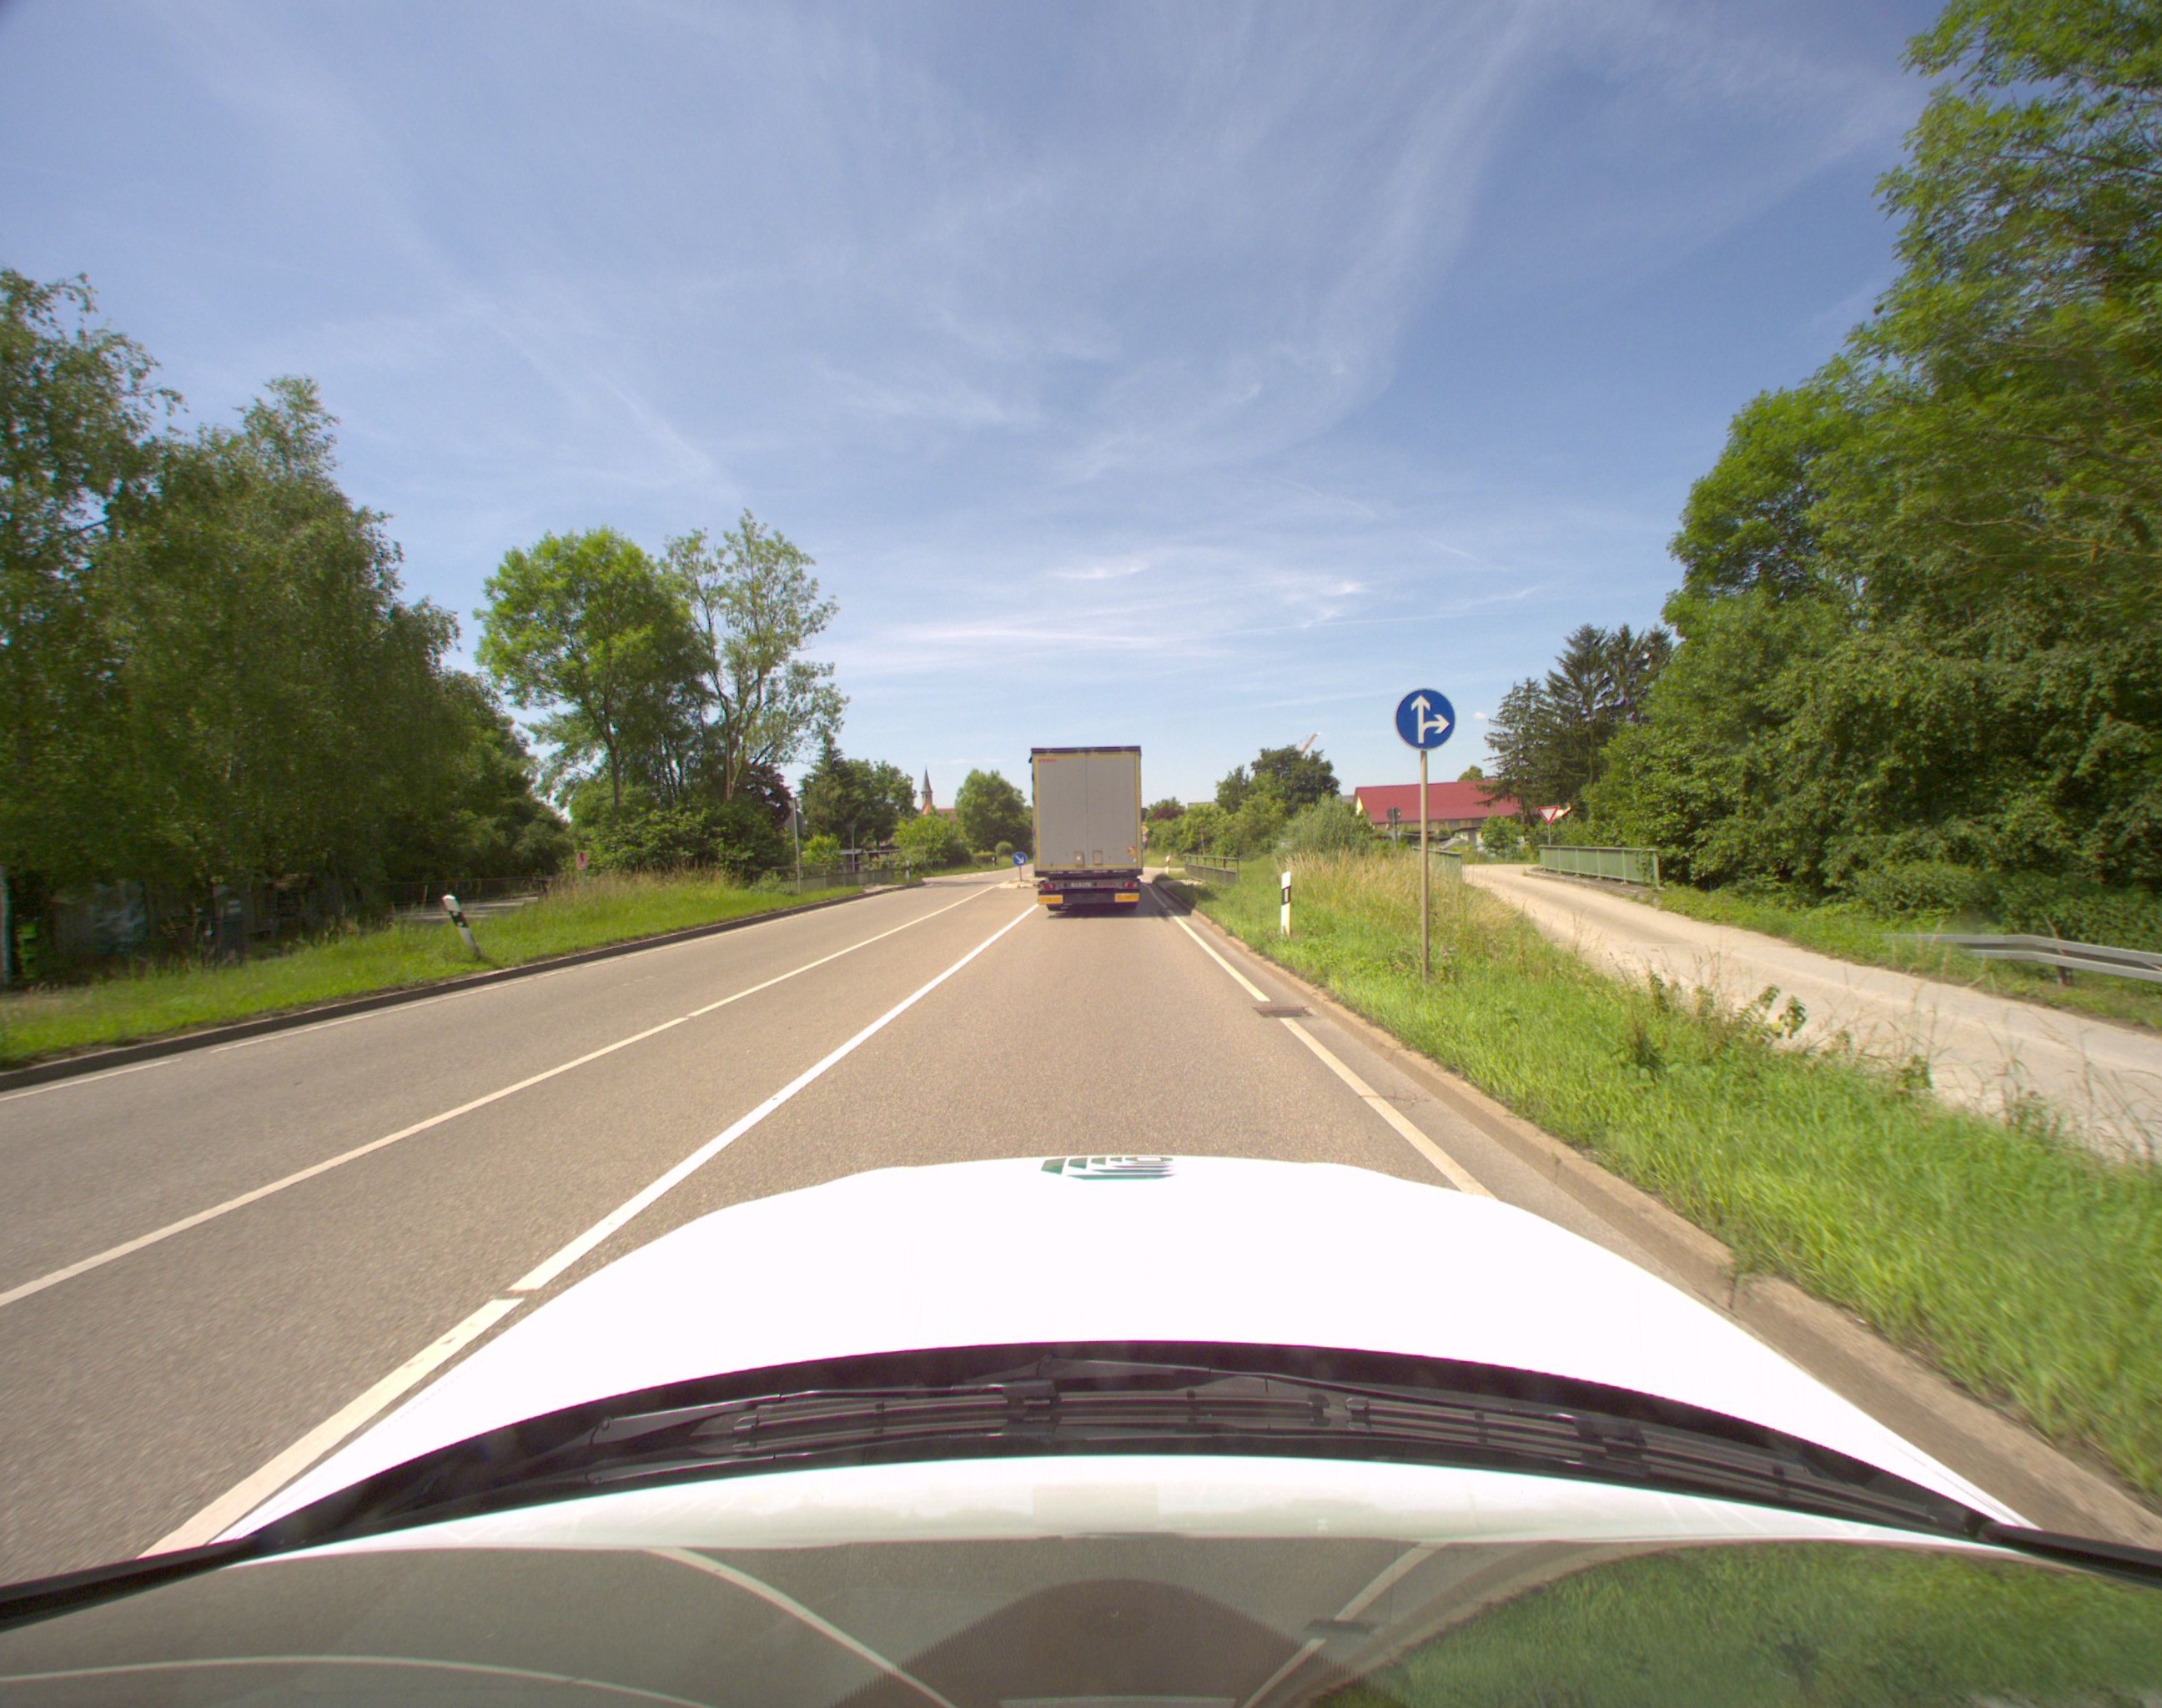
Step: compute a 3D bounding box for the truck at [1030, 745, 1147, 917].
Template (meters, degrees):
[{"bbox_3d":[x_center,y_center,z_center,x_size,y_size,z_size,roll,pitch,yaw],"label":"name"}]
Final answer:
[{"bbox_3d":[0.221,-0.536,23.185,2.638,3.917,8.825,-1,0,0],"label":"truck"}]
